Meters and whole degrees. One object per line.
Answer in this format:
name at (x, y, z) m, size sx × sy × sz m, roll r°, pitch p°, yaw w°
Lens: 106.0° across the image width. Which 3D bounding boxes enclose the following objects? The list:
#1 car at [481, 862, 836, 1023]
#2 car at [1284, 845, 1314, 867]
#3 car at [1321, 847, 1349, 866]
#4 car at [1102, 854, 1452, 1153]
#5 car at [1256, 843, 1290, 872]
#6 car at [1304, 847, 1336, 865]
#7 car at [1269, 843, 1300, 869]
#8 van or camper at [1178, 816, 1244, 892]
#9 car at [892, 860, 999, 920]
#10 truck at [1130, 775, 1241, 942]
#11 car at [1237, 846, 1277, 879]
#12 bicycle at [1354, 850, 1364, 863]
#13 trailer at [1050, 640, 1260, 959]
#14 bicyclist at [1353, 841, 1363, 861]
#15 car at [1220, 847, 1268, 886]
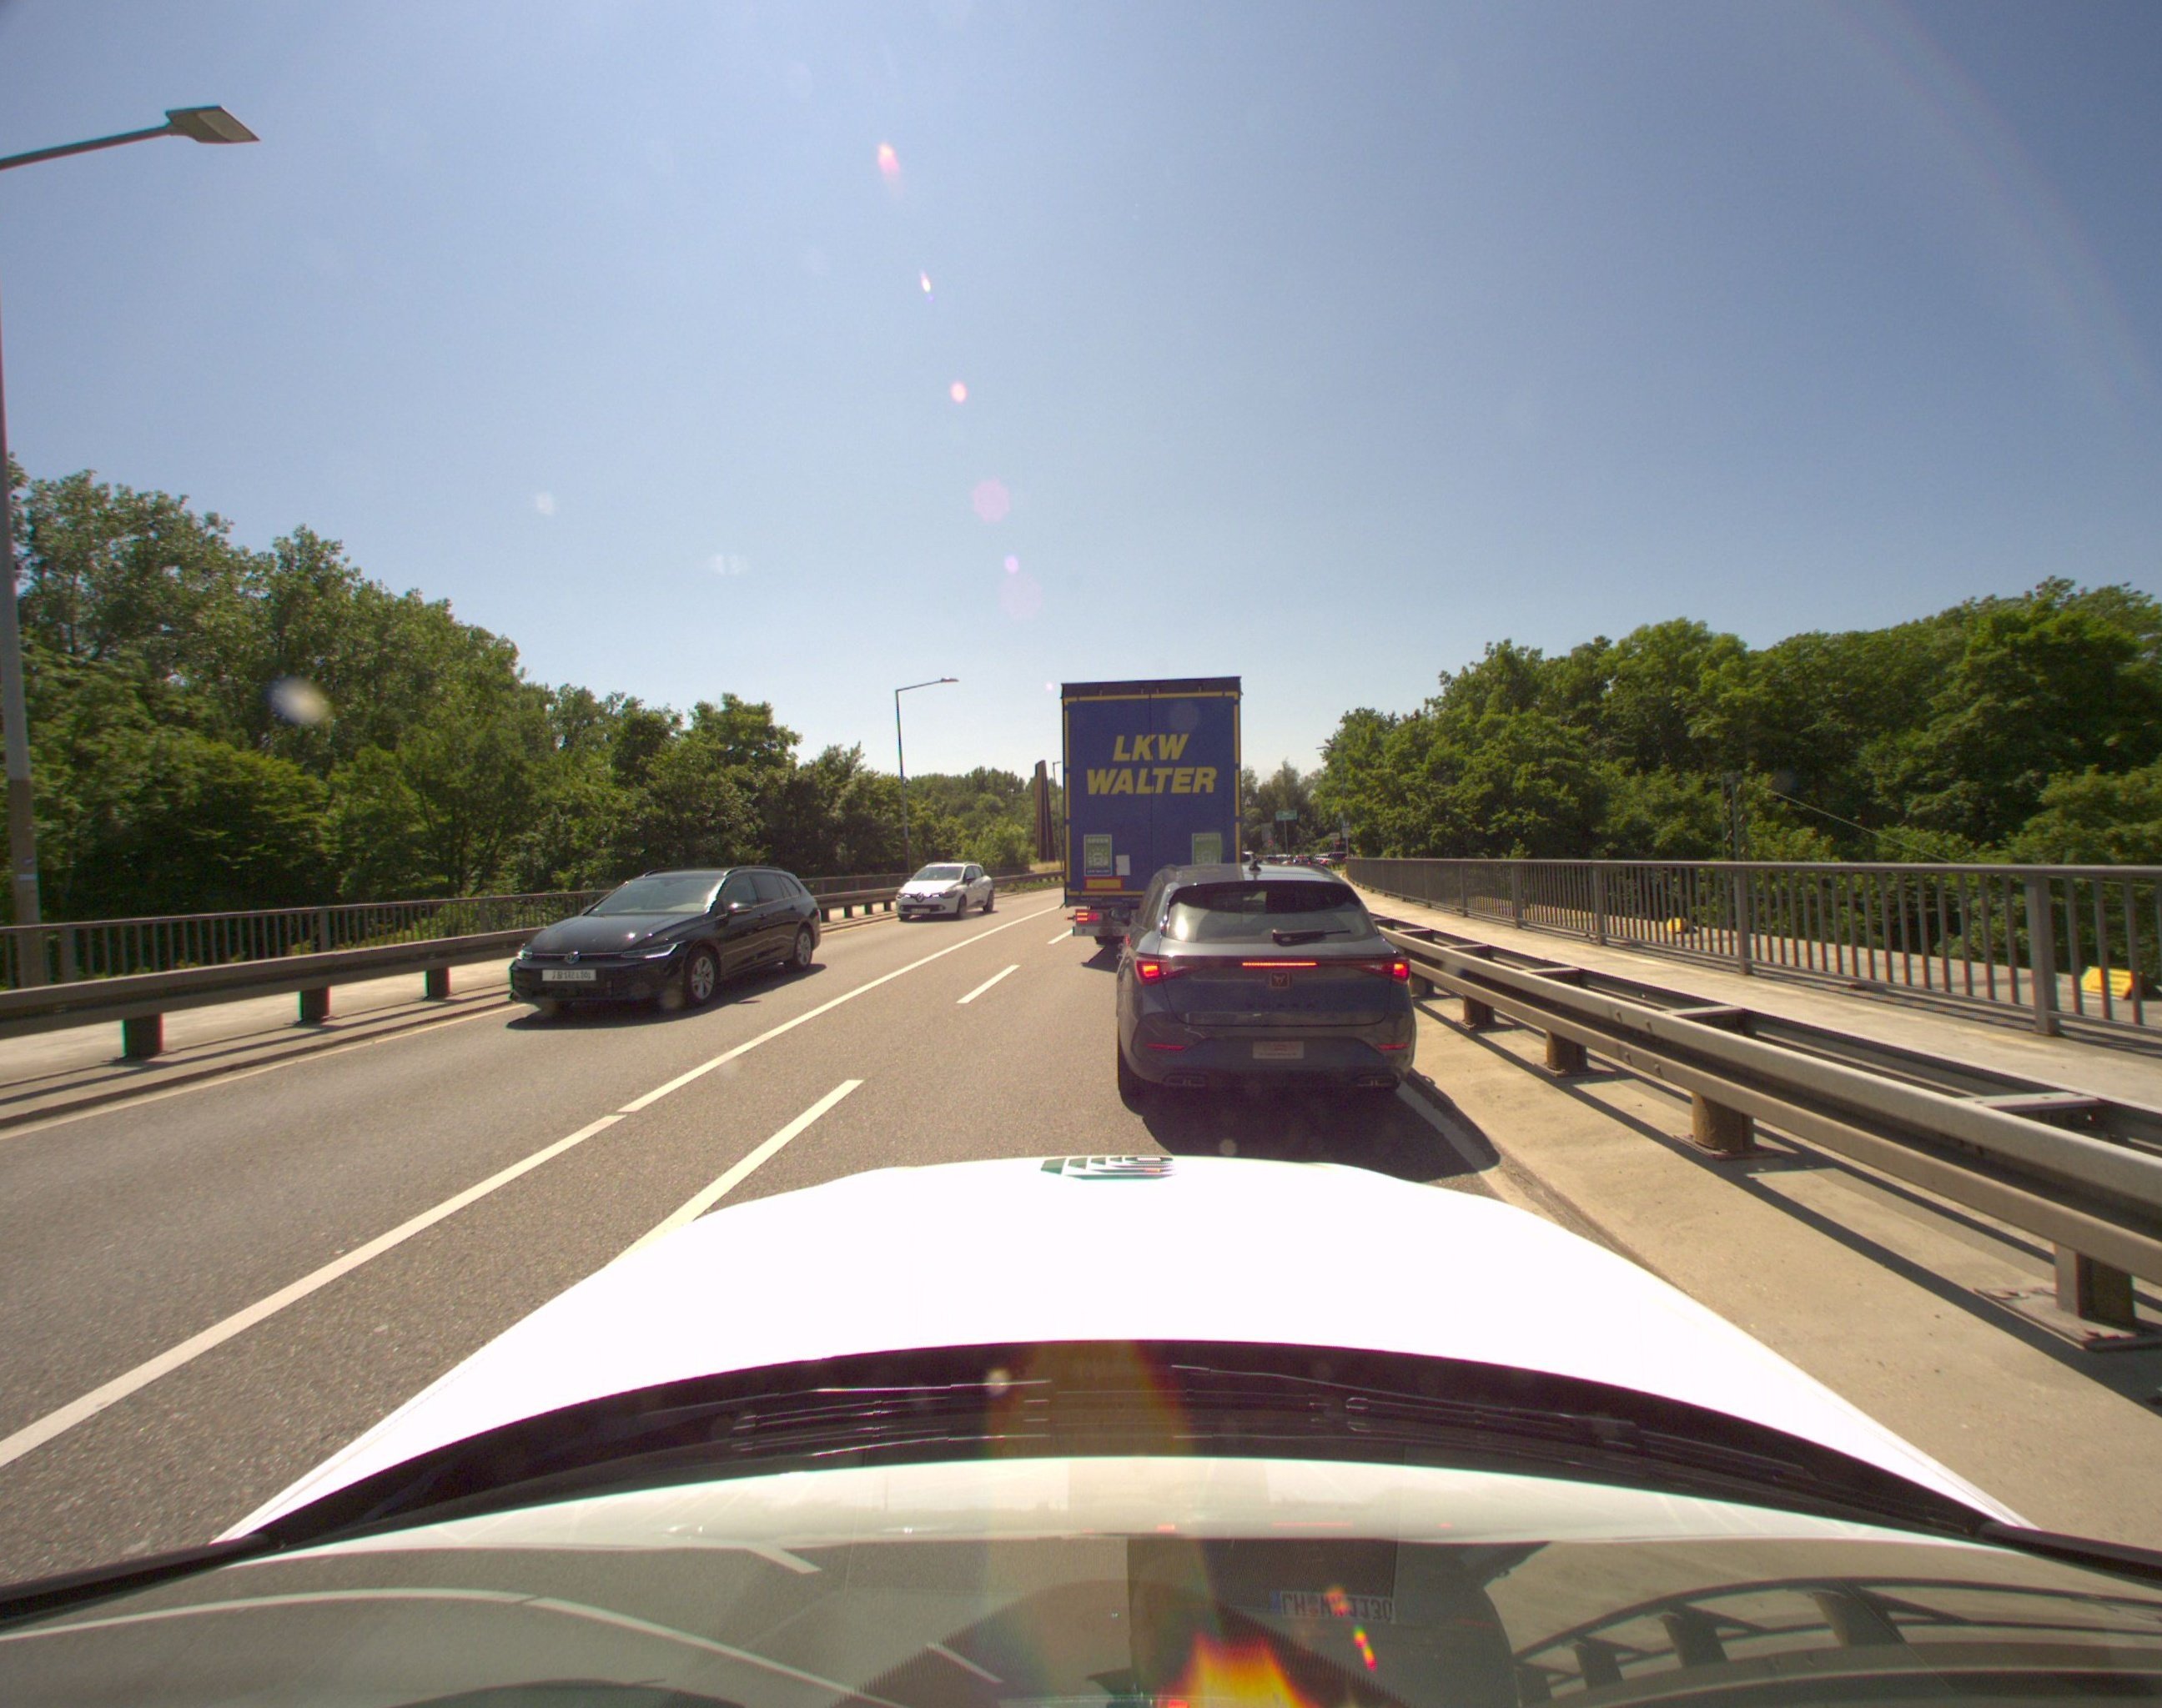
car at (-4.715, 0.870, 9.999) m, size 1.702 × 1.469 × 4.466 m, roll -1°, pitch 0°, yaw 5°
car at (18.219, 0.184, 67.875) m, size 1.670 × 1.760 × 4.023 m, roll -1°, pitch -1°, yaw 25°
car at (24.972, 0.261, 79.928) m, size 1.669 × 1.760 × 4.025 m, roll -2°, pitch -1°, yaw 30°
car at (1.103, 0.749, 5.997) m, size 1.669 × 1.456 × 3.963 m, roll -1°, pitch 0°, yaw 4°
car at (13.018, 0.223, 55.088) m, size 1.706 × 1.844 × 4.021 m, roll -1°, pitch 0°, yaw 21°
car at (21.797, 0.182, 74.056) m, size 1.975 × 1.575 × 4.024 m, roll 0°, pitch -1°, yaw 28°
car at (15.353, 0.153, 61.288) m, size 1.706 × 1.844 × 4.021 m, roll -1°, pitch 0°, yaw 21°
van or camper at (5.493, 0.008, 33.621) m, size 2.139 × 2.815 × 6.411 m, roll -1°, pitch 0°, yaw 14°
car at (-3.591, 0.910, 22.344) m, size 1.589 × 1.449 × 4.067 m, roll -1°, pitch 0°, yaw 10°
truck at (3.340, 0.131, 25.099) m, size 2.887 × 4.418 × 6.573 m, roll -1°, pitch 0°, yaw 10°
car at (10.260, 0.466, 47.206) m, size 1.706 × 1.802 × 4.020 m, roll -1°, pitch 0°, yaw 20°
bicycle at (24.064, 0.202, 70.596) m, size 0.578 × 1.035 × 1.489 m, roll -4°, pitch -1°, yaw 12°
trailer at (2.055, -0.755, 17.651) m, size 2.887 × 4.418 × 12.466 m, roll -1°, pitch 0°, yaw 10°
bicyclist at (24.029, -0.294, 70.590) m, size 0.574 × 1.683 × 0.731 m, roll -4°, pitch -1°, yaw 11°
car at (8.231, 0.585, 40.931) m, size 1.706 × 1.844 × 4.020 m, roll -1°, pitch 0°, yaw 20°
